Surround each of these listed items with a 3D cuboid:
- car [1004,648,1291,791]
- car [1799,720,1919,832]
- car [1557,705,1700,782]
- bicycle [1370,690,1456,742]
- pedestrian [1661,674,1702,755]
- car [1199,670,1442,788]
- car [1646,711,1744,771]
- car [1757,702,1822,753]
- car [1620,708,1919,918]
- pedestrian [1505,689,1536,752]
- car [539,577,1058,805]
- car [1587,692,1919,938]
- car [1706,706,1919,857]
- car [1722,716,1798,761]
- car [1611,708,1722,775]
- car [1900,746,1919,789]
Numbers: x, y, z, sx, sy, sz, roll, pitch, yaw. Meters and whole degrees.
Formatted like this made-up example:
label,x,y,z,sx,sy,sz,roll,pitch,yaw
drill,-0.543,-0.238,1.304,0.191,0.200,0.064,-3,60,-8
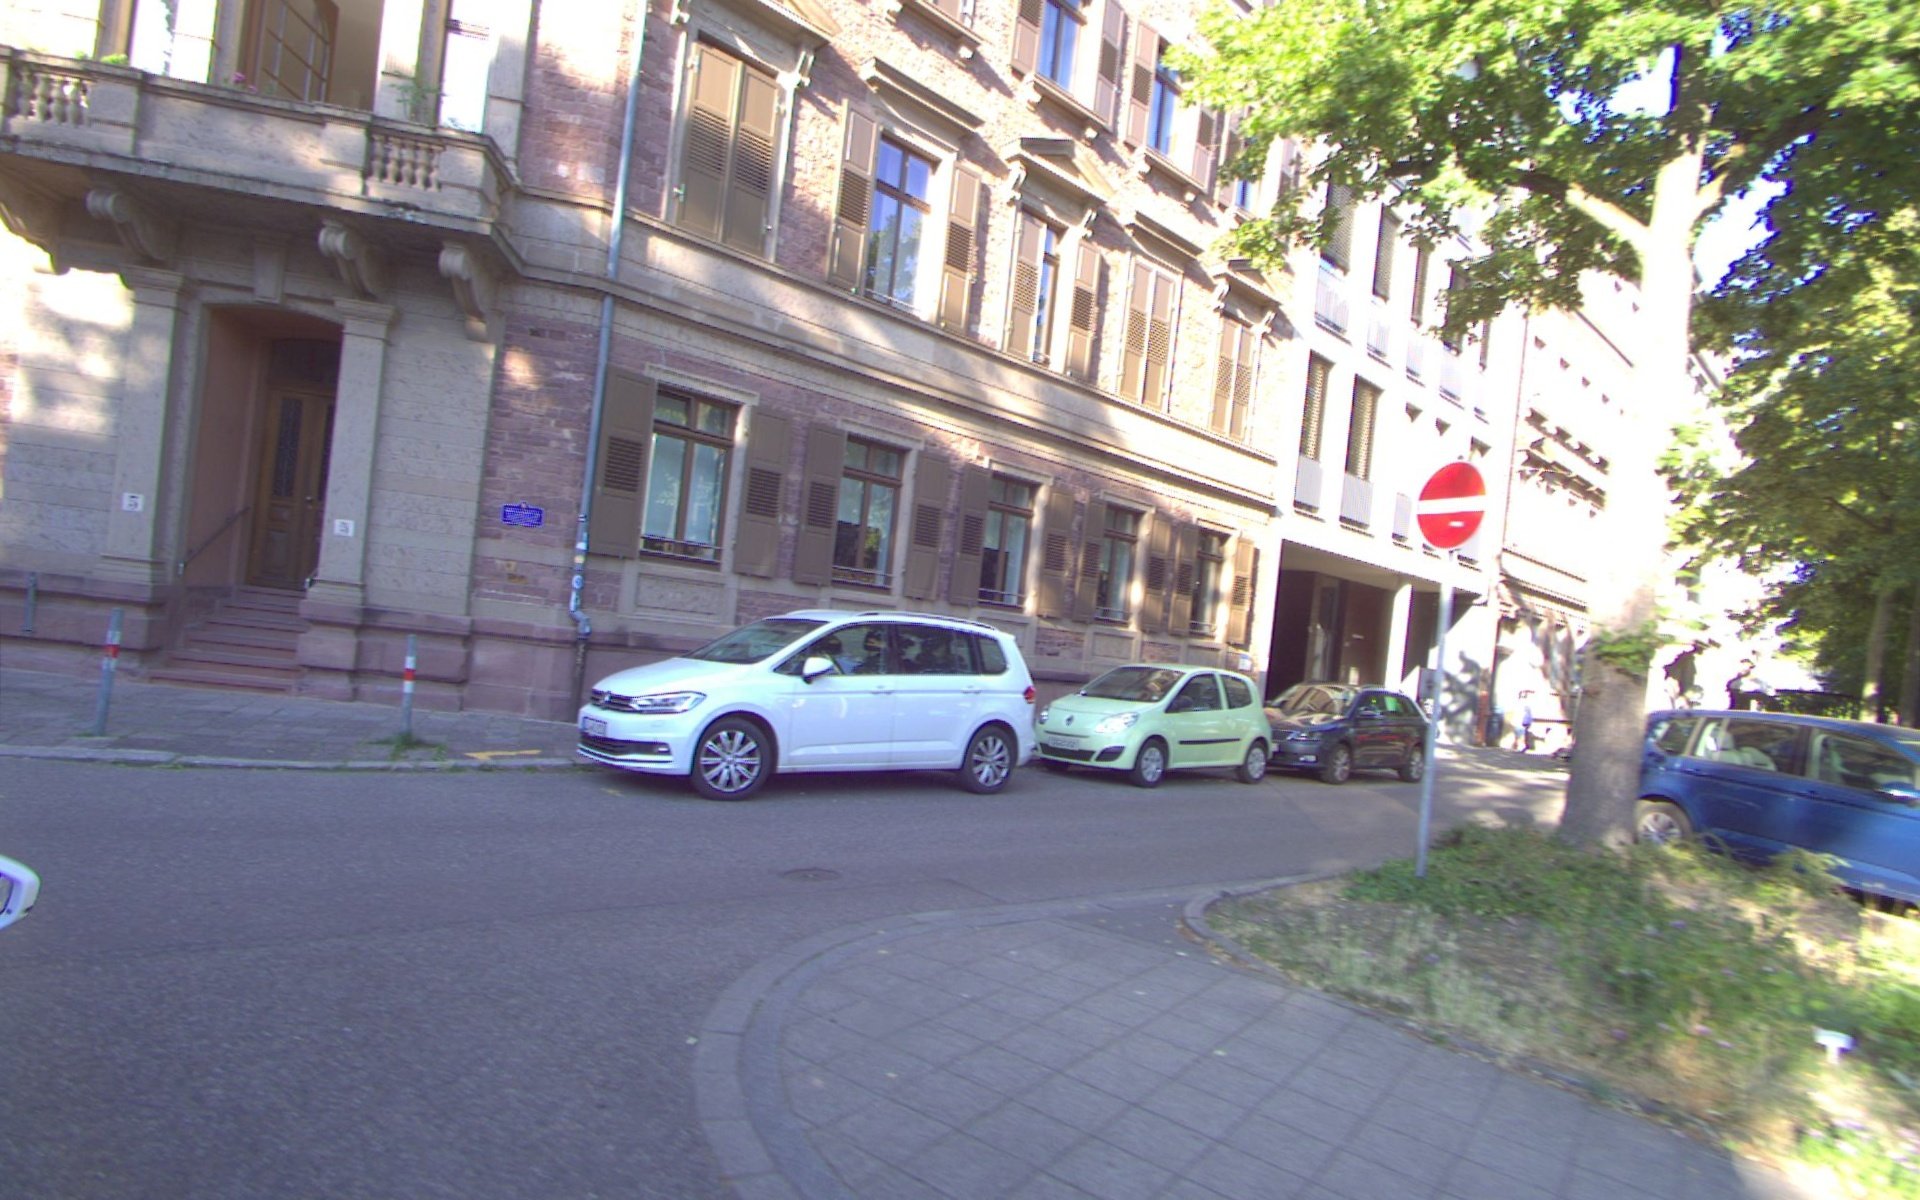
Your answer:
label,x,y,z,sx,sy,sz,roll,pitch,yaw
car,2.521,1.554,13.057,3.701,1.506,1.722,8,-4,-43
car,18.029,3.375,18.012,1.894,1.742,4.551,7,-1,-2
car,17.803,3.800,26.708,4.563,1.586,1.976,8,-1,-42
bicycle,12.354,3.163,27.448,2.063,1.130,0.681,7,-1,-14
pedestrian,27.886,4.409,38.891,0.696,2.983,0.909,6,0,-45
car,5.763,2.035,15.825,4.135,1.506,1.724,8,-4,-41
car,24.823,4.721,33.909,1.974,1.586,4.219,7,-1,44
car,42.952,6.608,52.049,4.586,2.199,1.975,8,-1,-45
car,10.137,2.384,11.177,1.898,1.654,4.543,7,-1,-11
pedestrian,15.847,3.393,28.430,0.522,1.694,0.425,6,0,42
car,-1.325,0.889,9.522,4.467,1.668,1.855,8,-4,-41
car,8.197,1.909,8.920,1.714,1.707,4.410,7,-2,-14
car,12.401,2.446,12.732,1.898,1.505,4.543,7,-1,-11
car,34.977,6.046,43.959,4.586,1.586,1.975,8,-1,-45
car,21.471,4.280,30.504,1.974,1.586,4.219,7,-1,44
car,31.578,5.463,30.417,1.779,1.294,4.273,7,-1,-11
